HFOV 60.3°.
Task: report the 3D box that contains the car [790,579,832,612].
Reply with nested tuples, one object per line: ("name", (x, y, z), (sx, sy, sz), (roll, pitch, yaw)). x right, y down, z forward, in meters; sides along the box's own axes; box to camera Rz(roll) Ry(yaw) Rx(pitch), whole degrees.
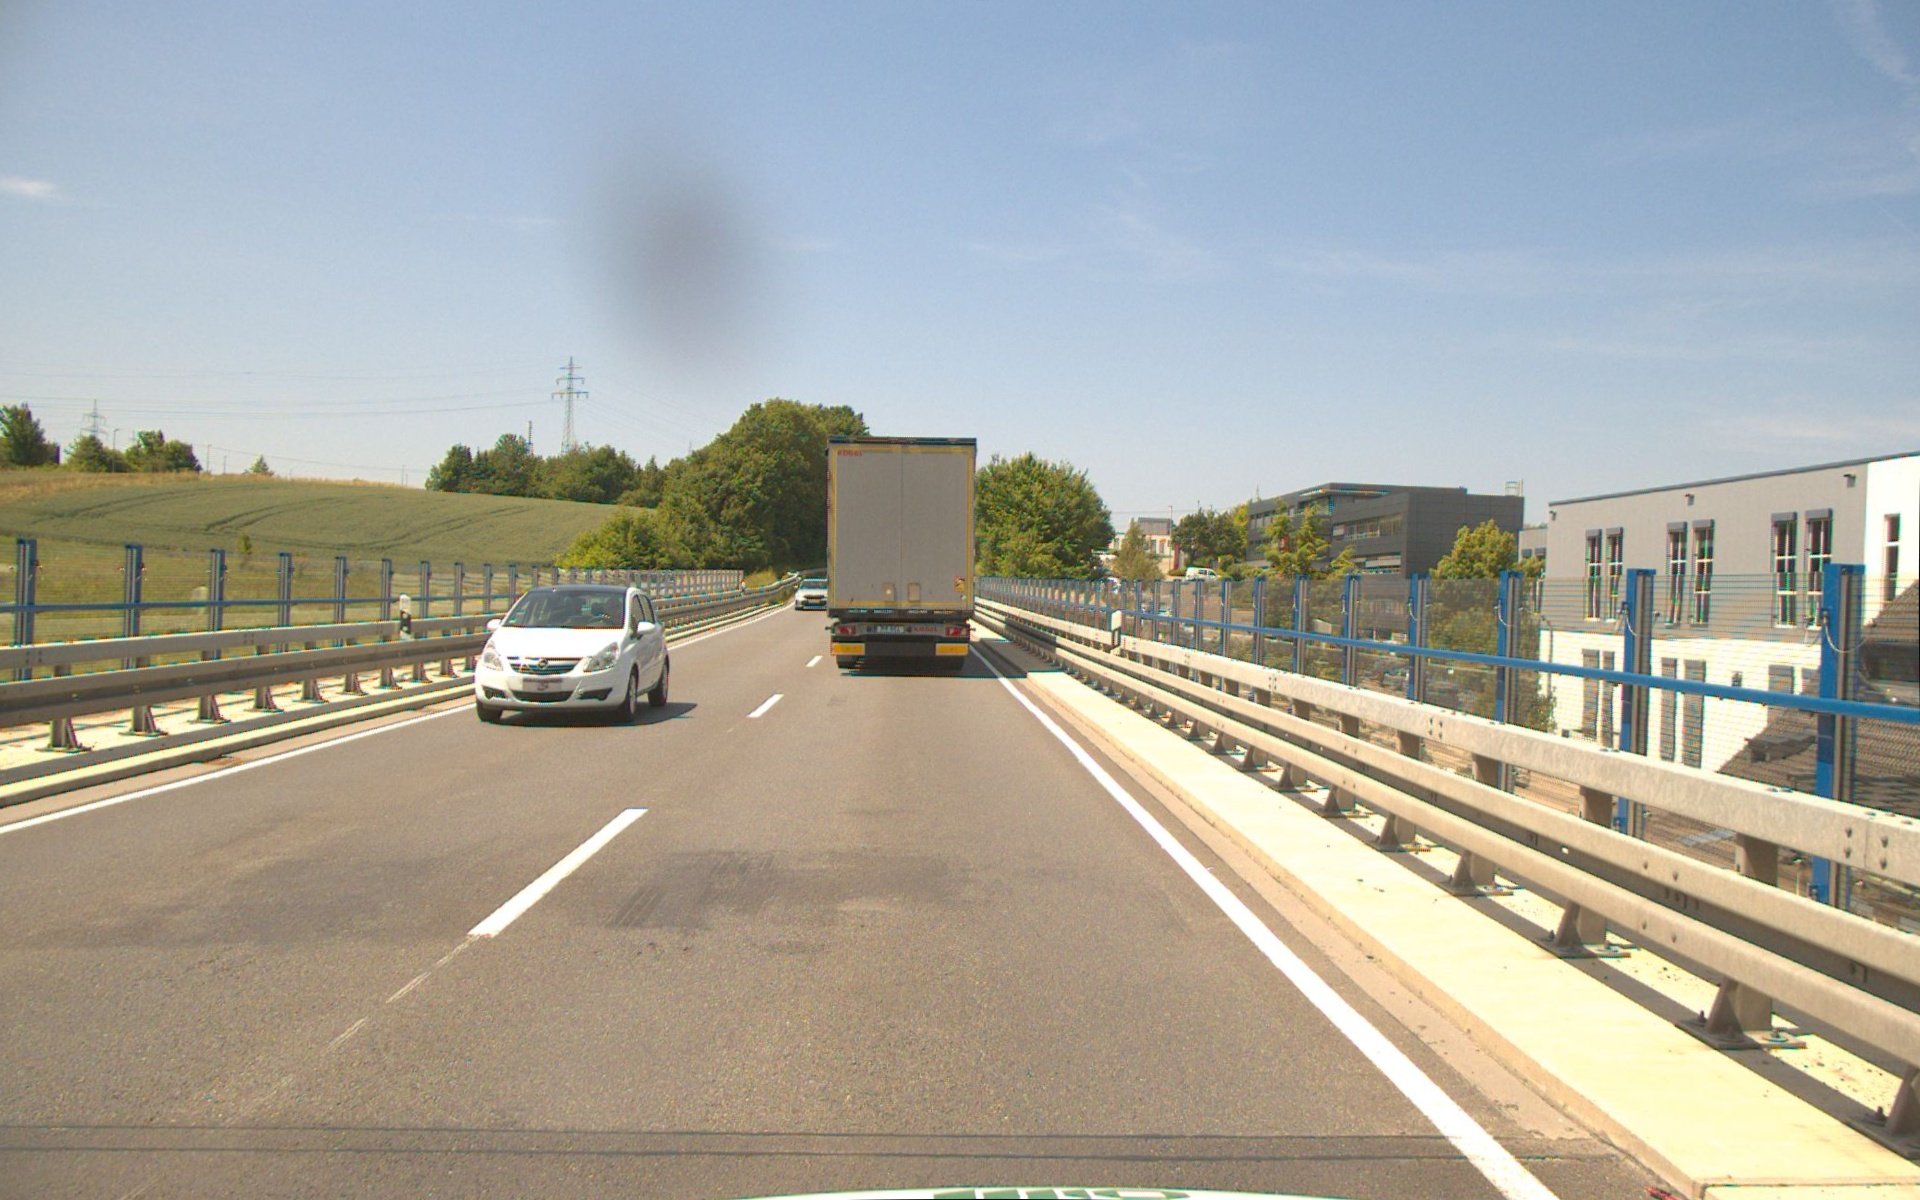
("car", (-6.918, -0.235, 76.920), (1.745, 1.461, 4.832), (0, 0, -3))

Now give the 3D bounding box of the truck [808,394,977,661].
("truck", (-1.346, -1.155, 32.352), (2.809, 4.436, 9.783), (0, -1, -3))

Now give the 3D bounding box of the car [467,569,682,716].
("car", (-4.356, 0.441, 19.268), (1.673, 1.531, 4.117), (0, 0, -2))
